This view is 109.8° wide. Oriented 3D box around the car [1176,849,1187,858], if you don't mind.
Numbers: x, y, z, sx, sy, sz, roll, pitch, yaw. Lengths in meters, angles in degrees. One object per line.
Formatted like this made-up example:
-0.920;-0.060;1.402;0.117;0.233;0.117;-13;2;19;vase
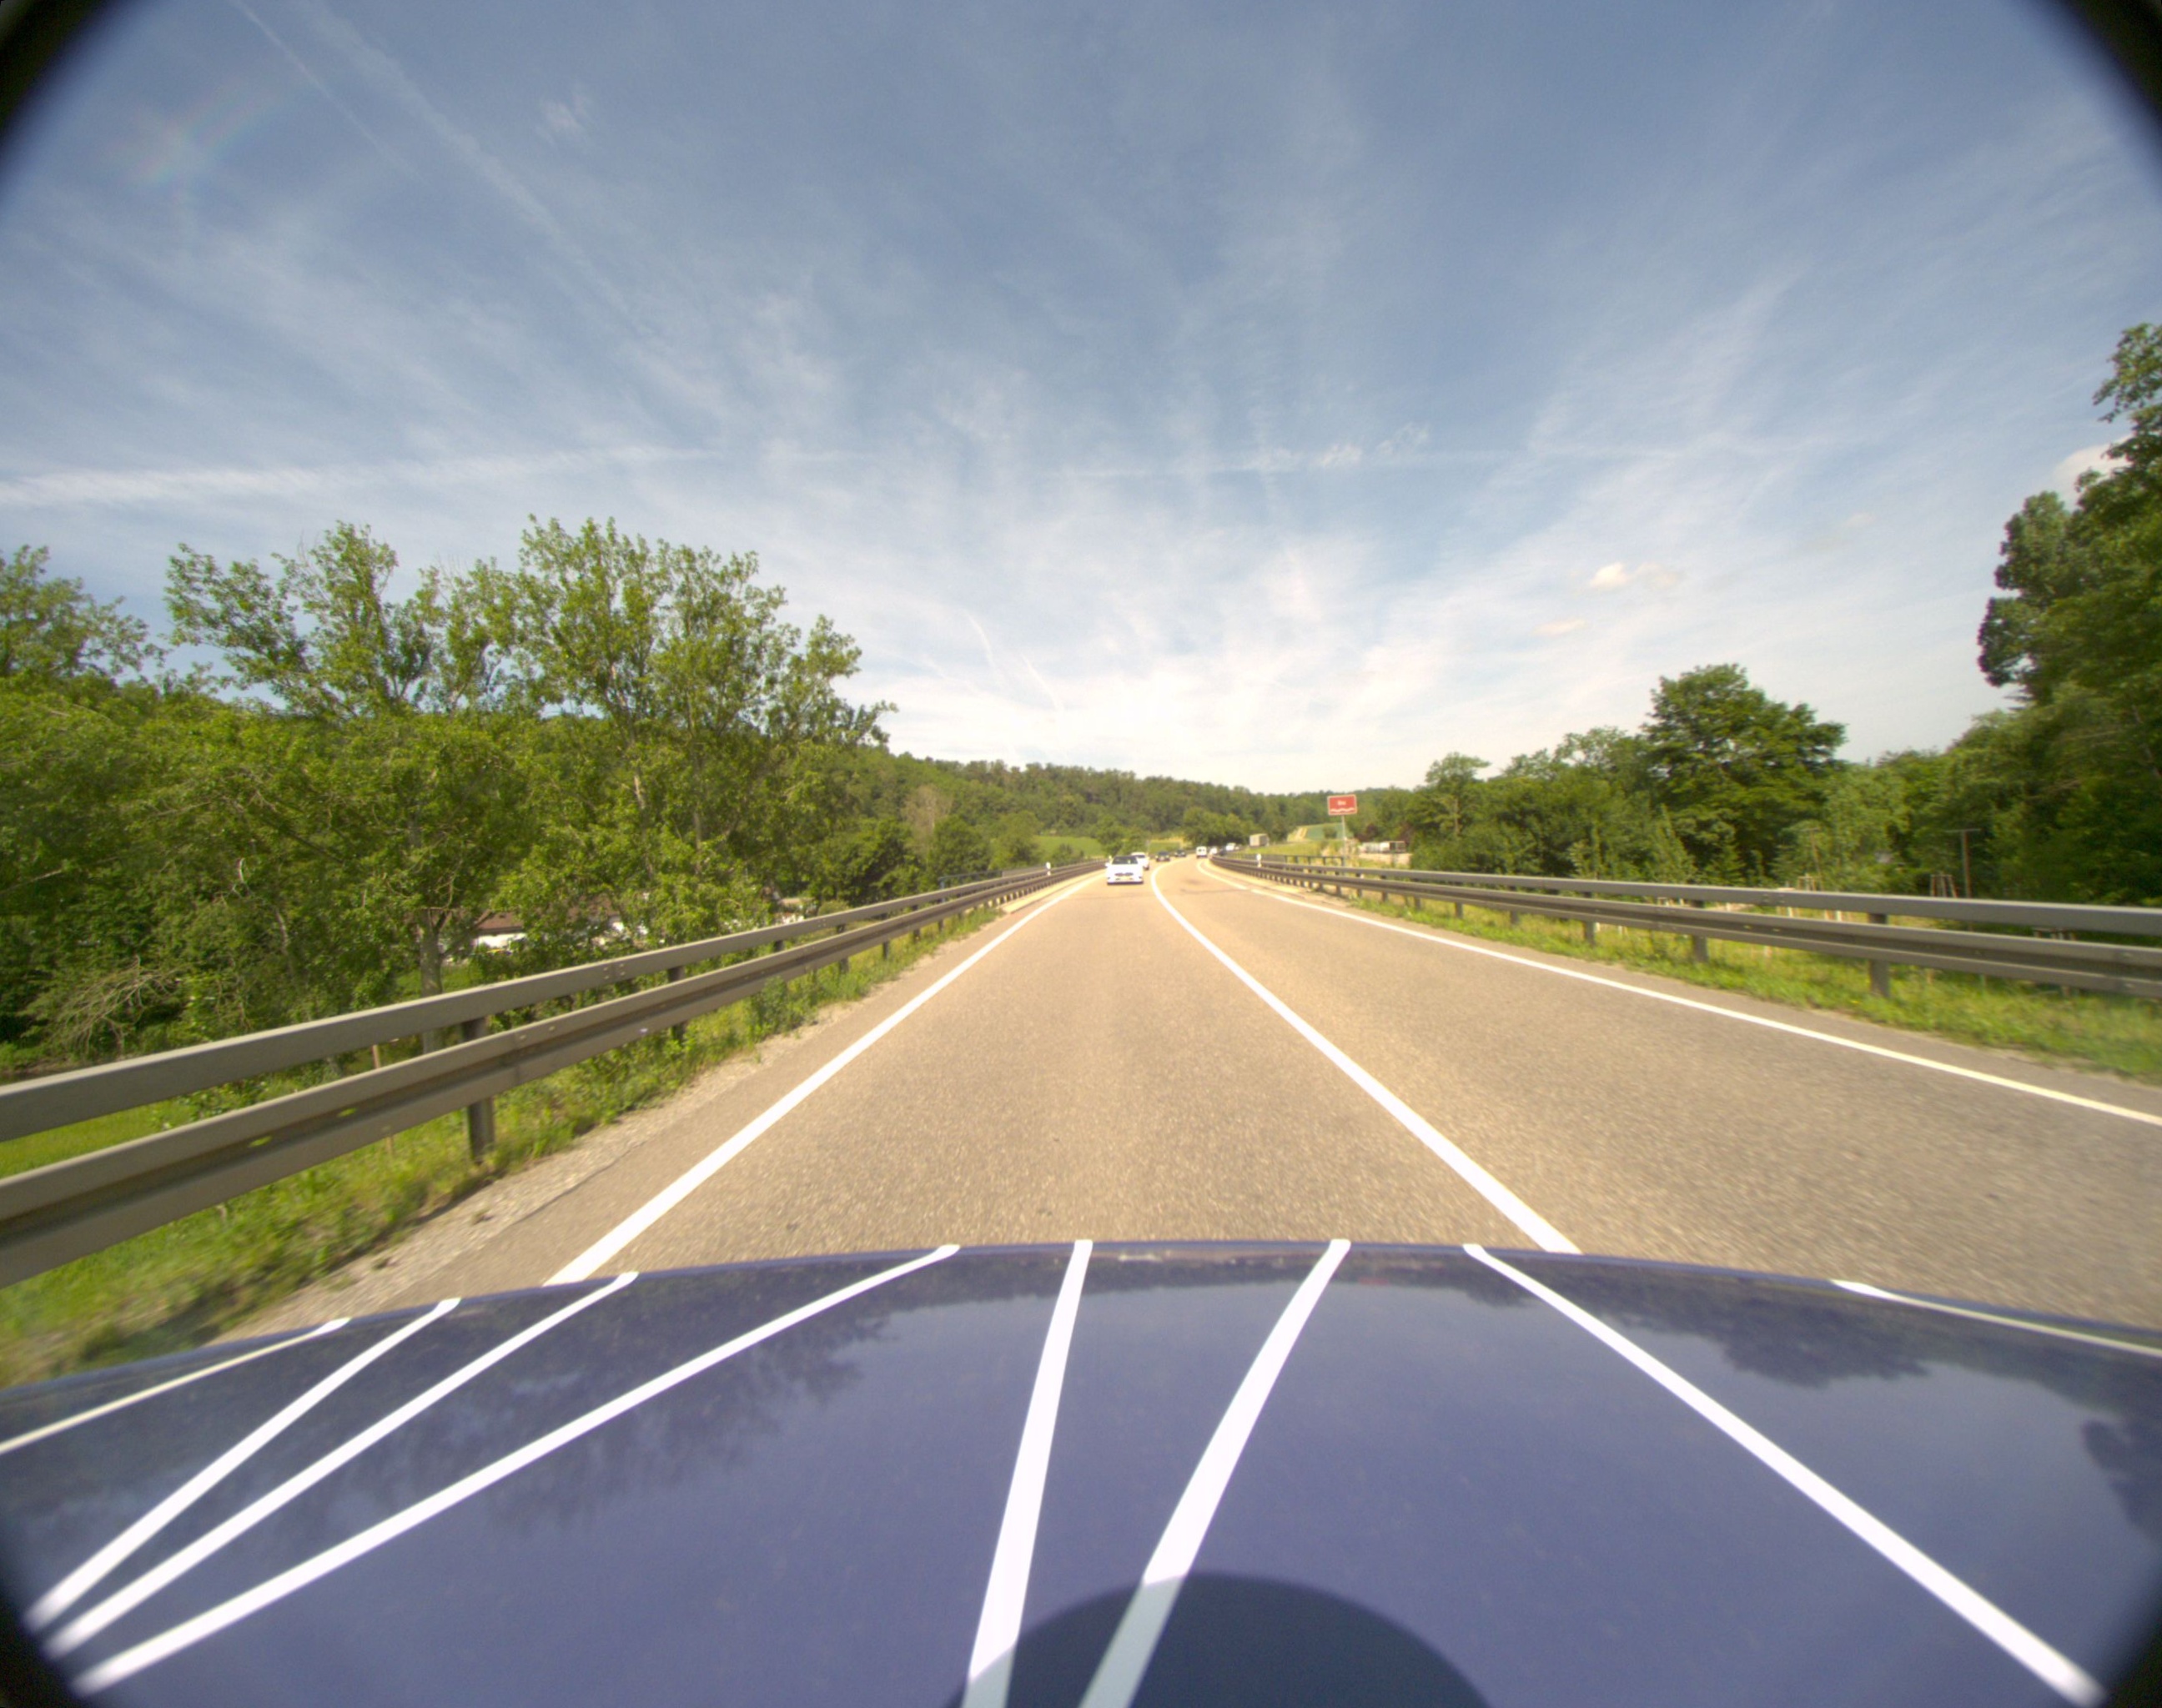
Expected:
17.782;-0.090;134.460;1.741;1.445;4.038;-2;1;10;car

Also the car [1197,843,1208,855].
19.402;-0.803;121.232;1.741;1.765;4.038;-2;1;10;car

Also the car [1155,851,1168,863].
11.158;0.404;105.130;1.742;1.445;4.037;-2;1;6;car

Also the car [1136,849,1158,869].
5.736;0.400;65.489;1.717;1.523;4.001;-3;1;6;car

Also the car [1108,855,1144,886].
2.337;0.806;38.980;1.742;1.445;4.037;-2;1;4;car

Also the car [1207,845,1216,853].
26.046;-0.988;151.459;1.741;1.602;3.810;-2;1;10;car
